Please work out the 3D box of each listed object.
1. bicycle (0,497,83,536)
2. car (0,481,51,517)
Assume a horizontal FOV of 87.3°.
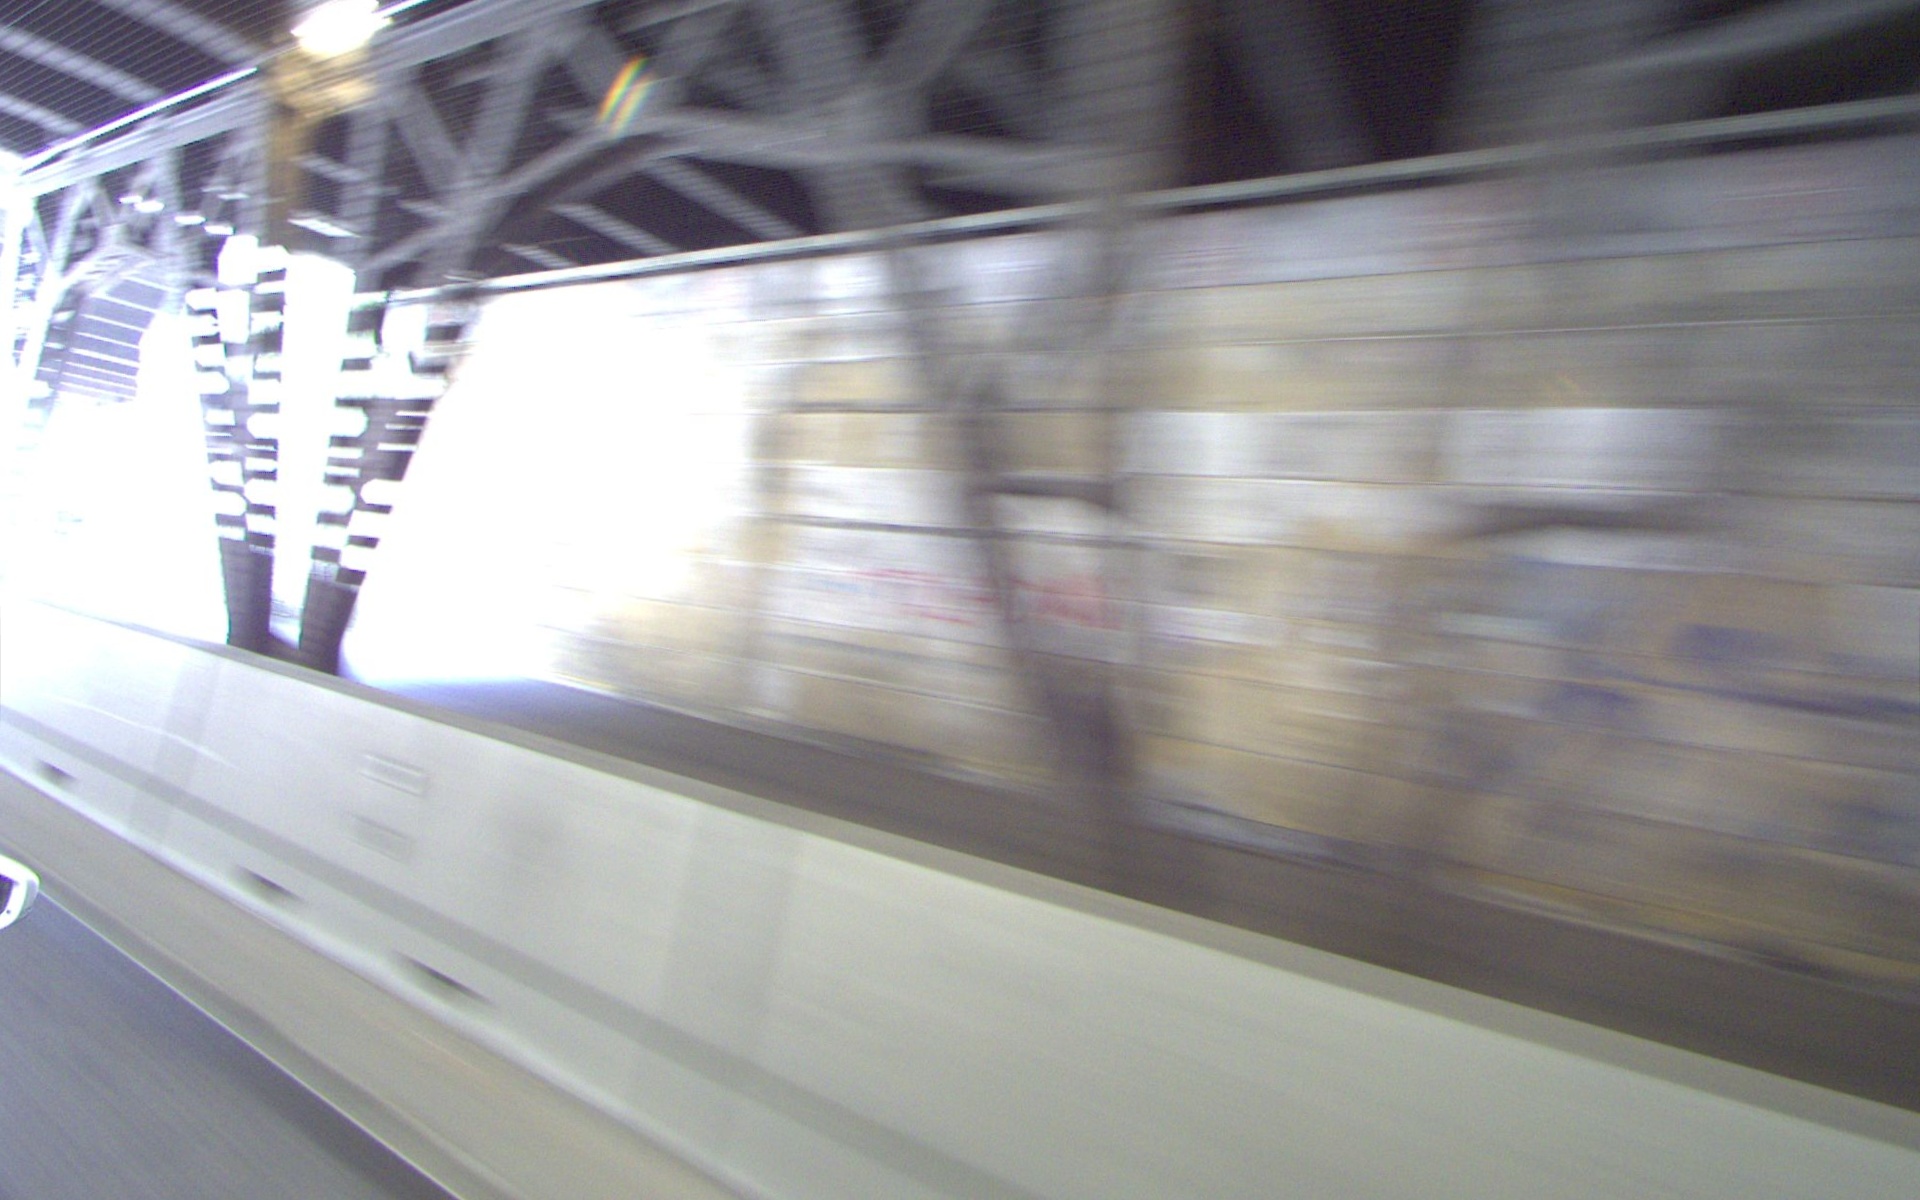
[{"bbox_3d":[-27.052,-2.451,29.471,0.498,0.915,1.947,6,0,30],"label":"bicycle"},{"bbox_3d":[-55.572,-5.996,57.909,1.974,1.709,4.666,7,0,44],"label":"car"}]
